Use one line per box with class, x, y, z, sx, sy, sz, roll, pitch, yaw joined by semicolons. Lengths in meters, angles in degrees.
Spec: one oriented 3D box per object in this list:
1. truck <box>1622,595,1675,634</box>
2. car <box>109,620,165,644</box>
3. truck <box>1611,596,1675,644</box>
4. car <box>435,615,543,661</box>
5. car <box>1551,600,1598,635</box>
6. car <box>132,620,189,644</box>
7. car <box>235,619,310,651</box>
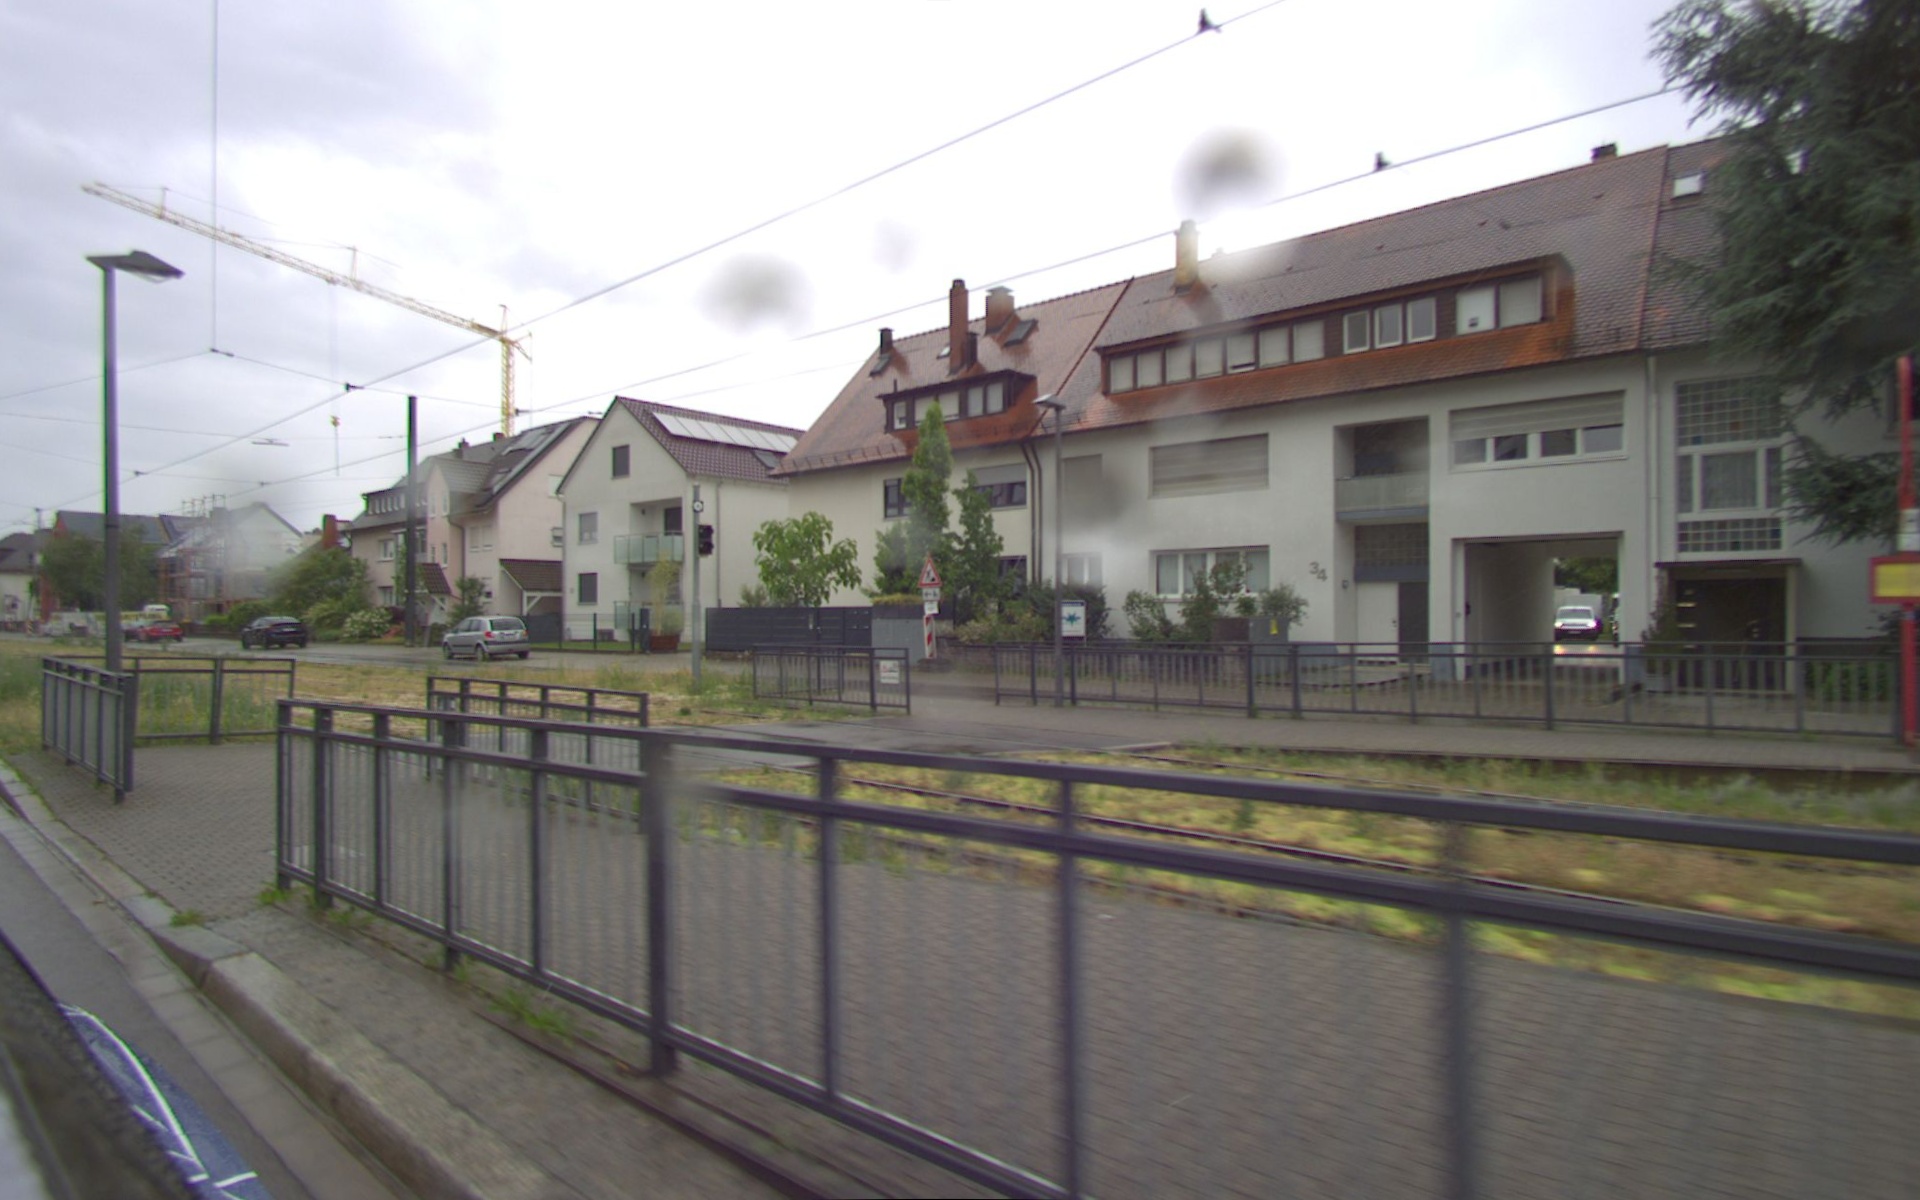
truck;38.050;0.753;55.871;1.998;2.029;5.755;0;0;38
car;-53.273;2.081;65.498;4.169;1.420;1.974;-3;-1;39
truck;31.458;0.863;46.548;1.998;2.029;5.755;0;0;38
car;-16.317;1.284;35.044;3.654;1.424;1.974;0;0;39
car;31.513;0.861;51.846;1.994;1.683;3.956;0;0;32
car;-49.265;1.940;62.329;3.839;1.383;1.974;0;0;39
car;-33.156;1.700;48.784;4.169;1.437;1.819;-2;-1;39
